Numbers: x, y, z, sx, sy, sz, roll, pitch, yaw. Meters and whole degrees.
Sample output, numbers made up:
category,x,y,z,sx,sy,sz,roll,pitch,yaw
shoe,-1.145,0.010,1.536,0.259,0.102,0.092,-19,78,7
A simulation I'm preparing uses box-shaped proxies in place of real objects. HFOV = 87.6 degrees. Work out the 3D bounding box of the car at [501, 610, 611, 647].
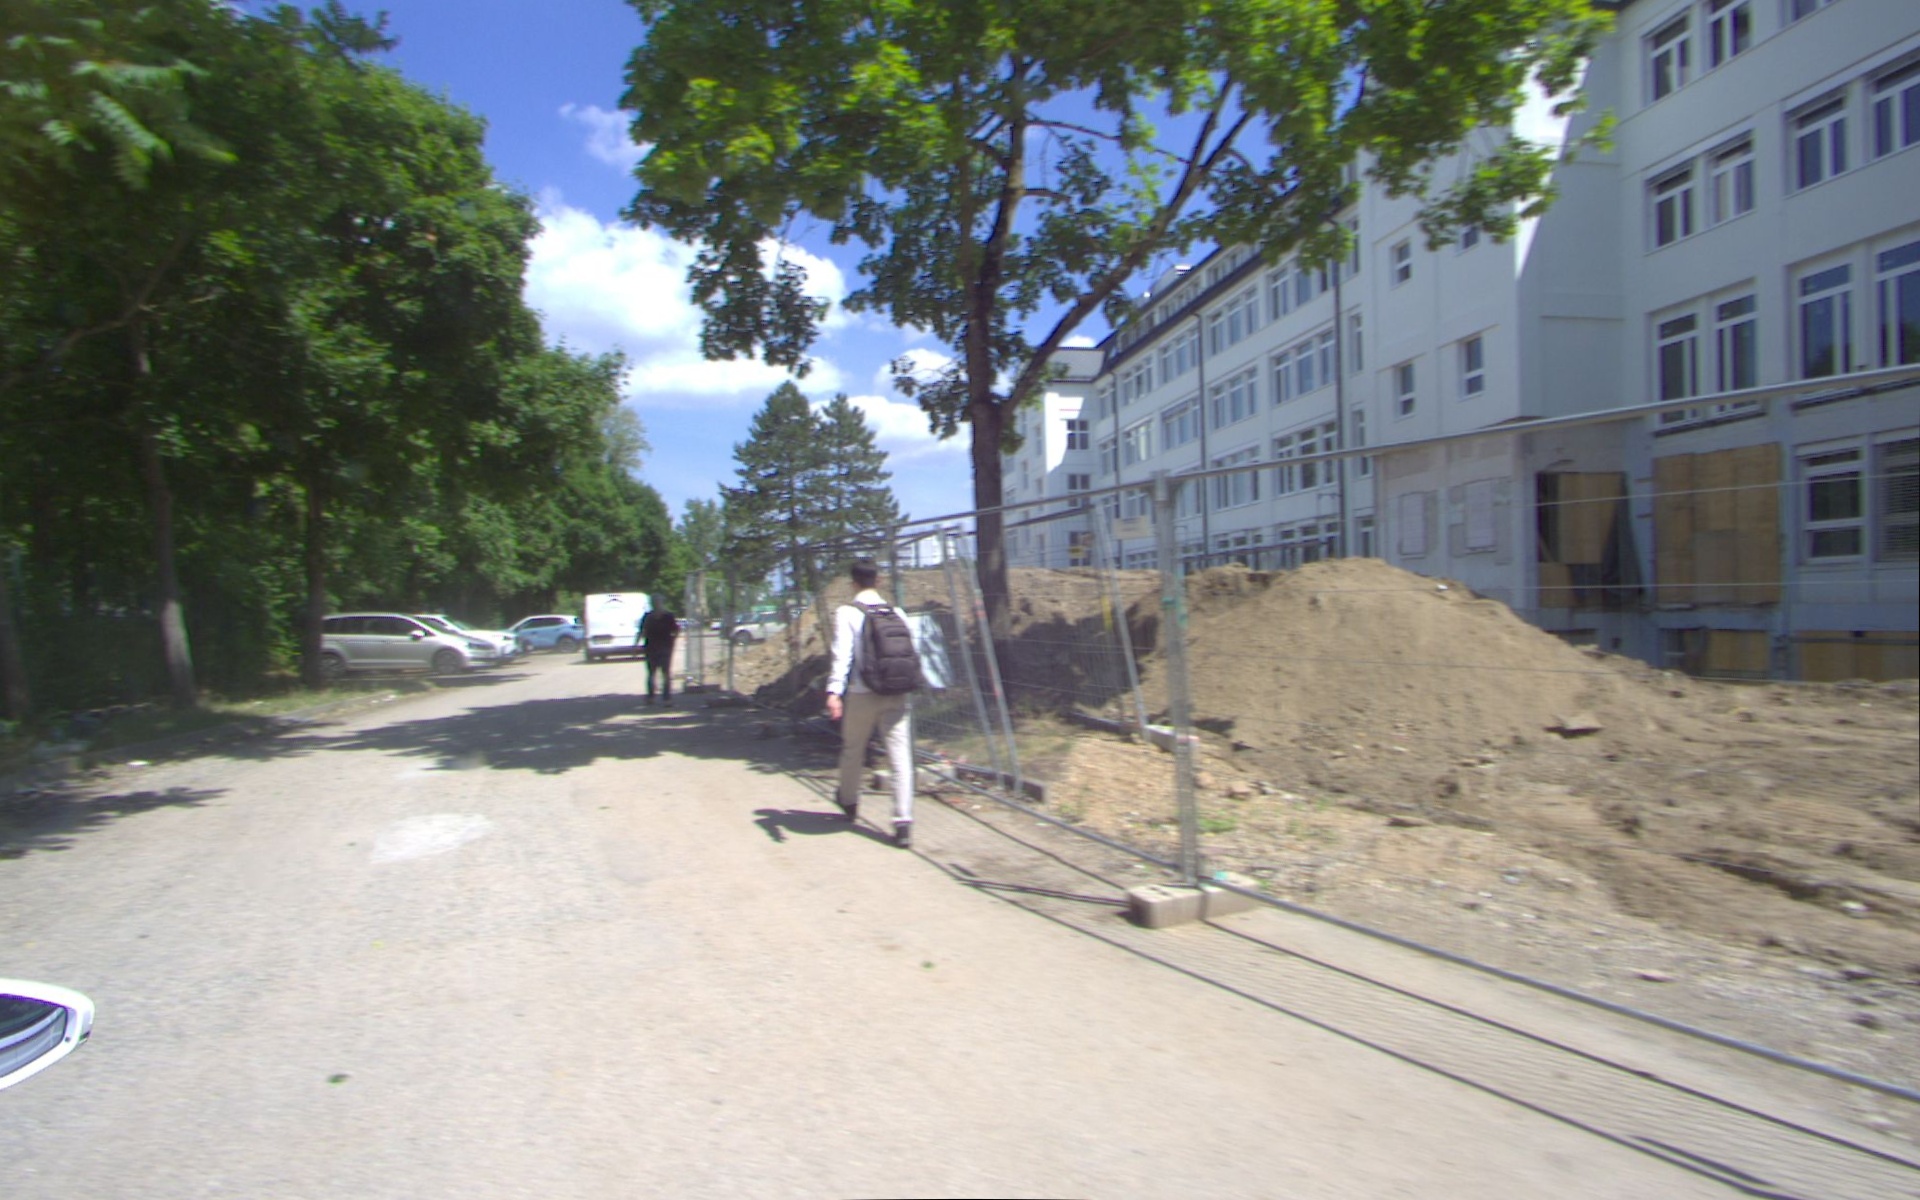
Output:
category,x,y,z,sx,sy,sz,roll,pitch,yaw
car,-18.744,1.307,46.628,4.436,1.619,1.935,-1,0,-12

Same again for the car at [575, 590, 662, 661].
category,x,y,z,sx,sy,sz,roll,pitch,yaw
car,-10.406,0.753,30.828,1.942,1.973,4.576,-1,0,-12

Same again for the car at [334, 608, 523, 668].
category,x,y,z,sx,sy,sz,roll,pitch,yaw
car,-15.061,1.060,28.625,4.437,1.552,1.724,-1,0,-13

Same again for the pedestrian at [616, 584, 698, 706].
category,x,y,z,sx,sy,sz,roll,pitch,yaw
pedestrian,-4.391,0.618,14.475,1.021,1.672,1.046,-1,1,-22

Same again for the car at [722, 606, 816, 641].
category,x,y,z,sx,sy,sz,roll,pitch,yaw
car,-8.378,1.021,44.072,3.925,1.439,1.999,-1,0,-11

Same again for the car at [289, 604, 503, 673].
category,x,y,z,sx,sy,sz,roll,pitch,yaw
car,-14.580,1.006,26.139,4.436,1.629,2.000,-1,-2,-12

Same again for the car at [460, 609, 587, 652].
category,x,y,z,sx,sy,sz,roll,pitch,yaw
car,-17.749,1.211,40.920,4.437,1.619,1.723,-1,1,-13

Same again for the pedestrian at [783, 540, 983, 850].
category,x,y,z,sx,sy,sz,roll,pitch,yaw
pedestrian,-0.509,0.536,6.334,0.864,1.753,1.074,-1,1,-30
